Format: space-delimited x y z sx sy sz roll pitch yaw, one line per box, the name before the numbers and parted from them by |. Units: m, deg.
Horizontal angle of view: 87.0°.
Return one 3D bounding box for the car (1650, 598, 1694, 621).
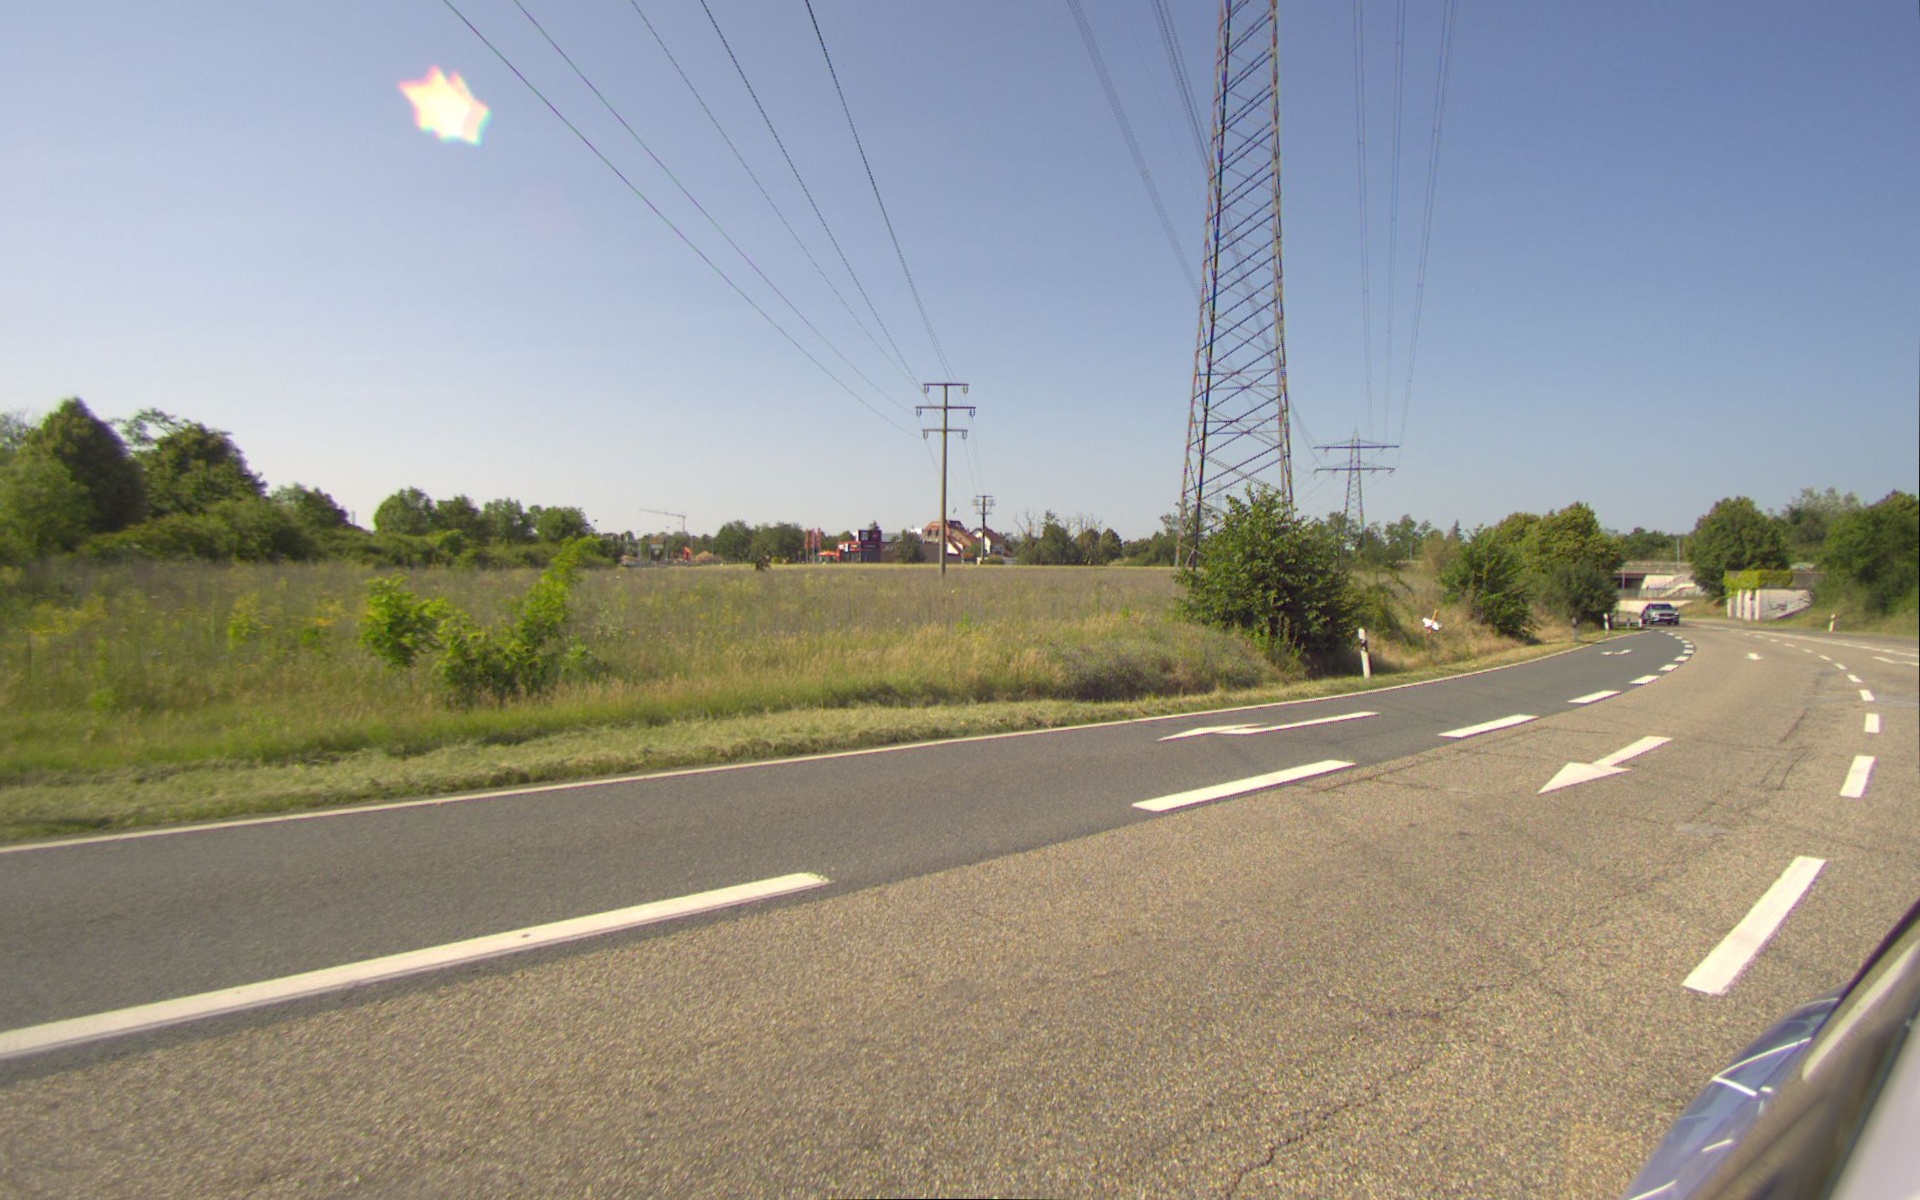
car | 53.863 0.685 76.630 1.838 1.639 3.622 1 0 20
